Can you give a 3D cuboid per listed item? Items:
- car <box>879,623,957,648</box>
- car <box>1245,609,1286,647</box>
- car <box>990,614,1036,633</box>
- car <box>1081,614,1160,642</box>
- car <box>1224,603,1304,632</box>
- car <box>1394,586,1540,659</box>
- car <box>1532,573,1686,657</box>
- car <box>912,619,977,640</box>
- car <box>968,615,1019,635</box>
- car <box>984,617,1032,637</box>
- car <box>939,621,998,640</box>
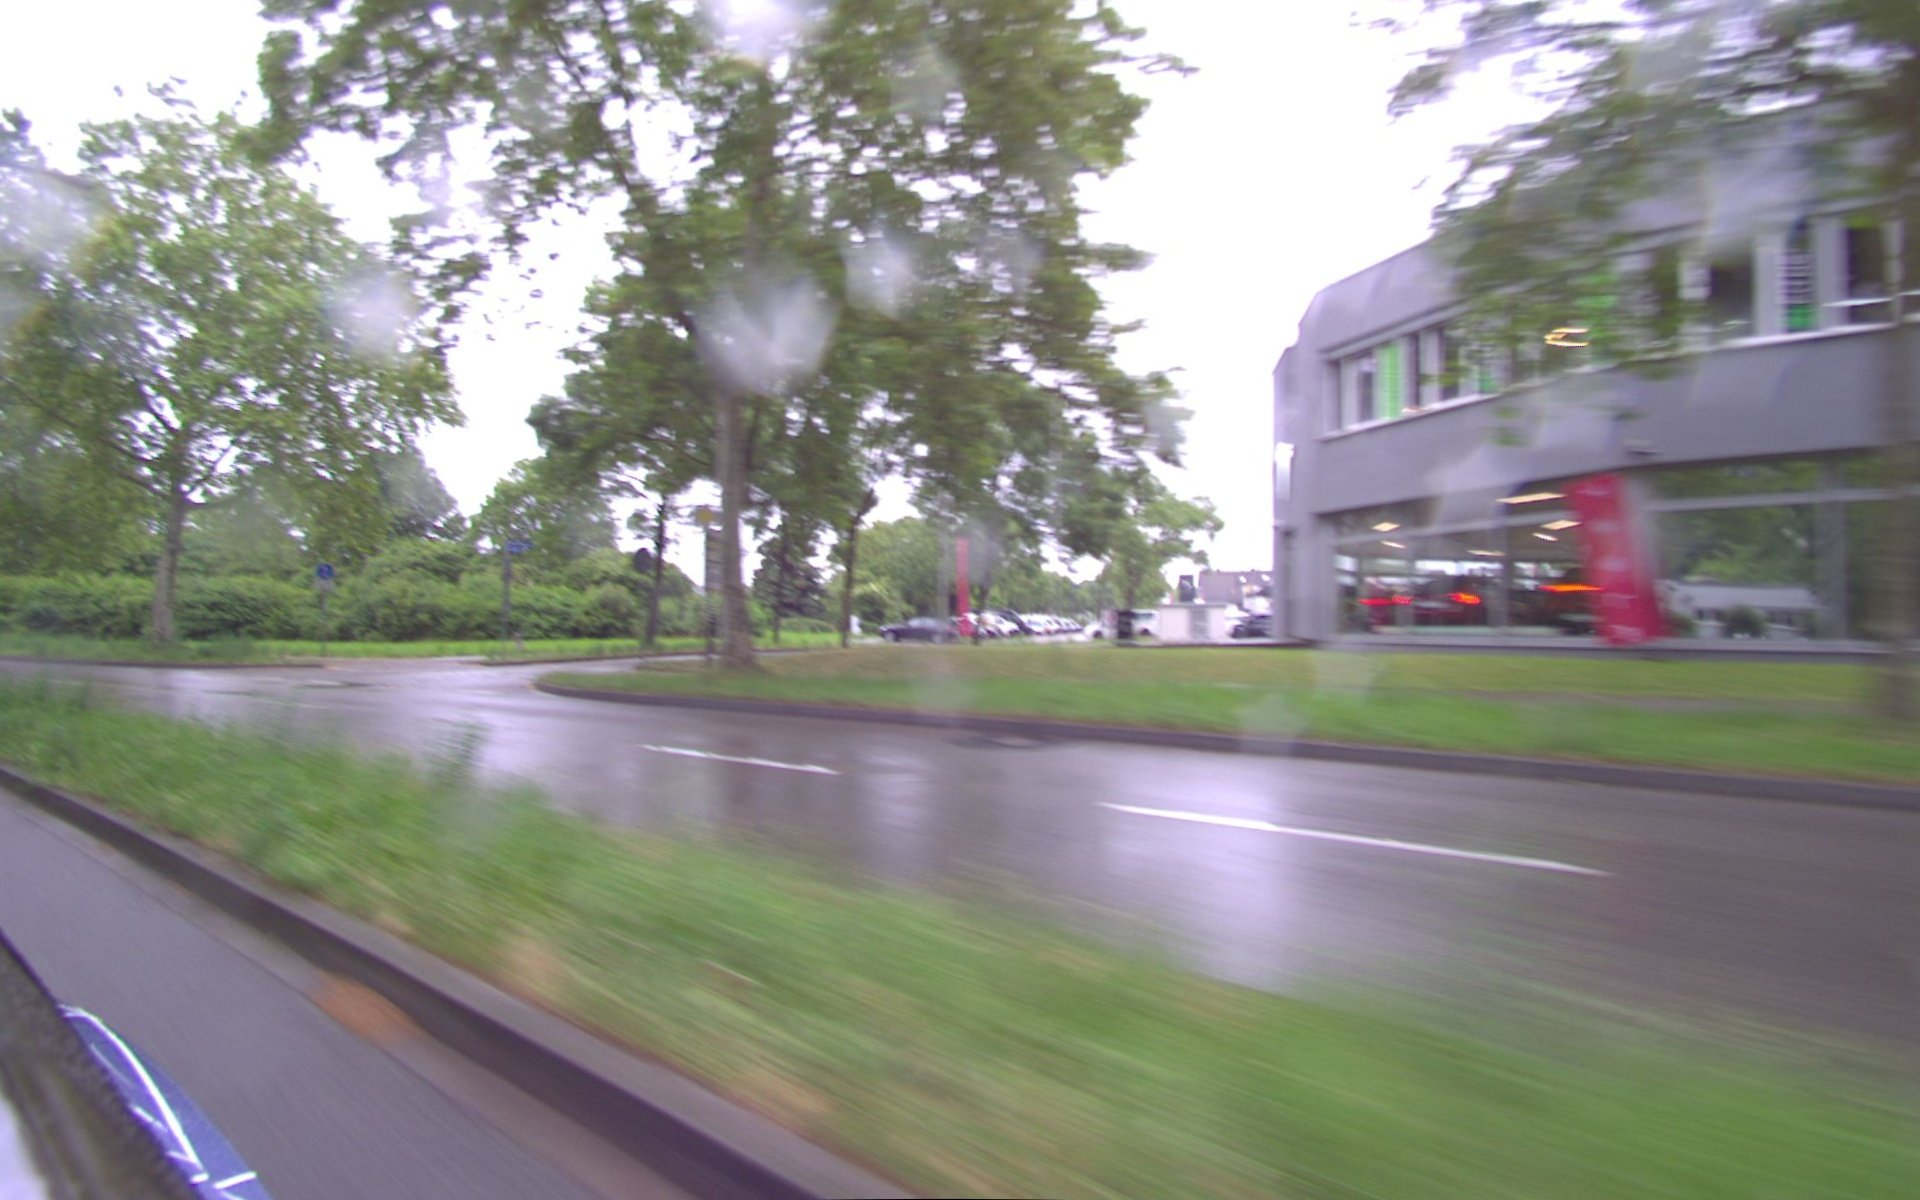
[{"bbox_3d":[-2.398,2.053,58.518,4.250,1.368,1.591,-1,-1,13],"label":"car"},{"bbox_3d":[12.999,1.177,43.051,1.585,1.506,4.180,-1,-1,17],"label":"car"},{"bbox_3d":[5.072,2.243,96.778,4.163,1.758,1.591,-1,-1,13],"label":"car"},{"bbox_3d":[10.772,1.880,67.972,5.177,1.878,1.787,-1,-1,12],"label":"car"},{"bbox_3d":[16.429,0.959,54.649,4.134,1.506,1.890,0,-1,-33],"label":"car"},{"bbox_3d":[11.552,0.501,22.939,4.141,1.506,1.600,1,-2,-43],"label":"car"},{"bbox_3d":[12.989,0.302,20.161,4.141,1.506,1.600,1,-2,-43],"label":"car"},{"bbox_3d":[-1.039,1.997,67.962,4.163,1.368,1.591,-1,-1,13],"label":"car"},{"bbox_3d":[2.865,2.167,87.232,4.163,1.640,1.591,-1,-1,13],"label":"car"},{"bbox_3d":[4.425,2.491,92.279,4.163,1.758,1.591,-1,-1,13],"label":"car"},{"bbox_3d":[0.632,2.292,75.560,4.163,1.368,1.591,-1,-1,13],"label":"car"}]
